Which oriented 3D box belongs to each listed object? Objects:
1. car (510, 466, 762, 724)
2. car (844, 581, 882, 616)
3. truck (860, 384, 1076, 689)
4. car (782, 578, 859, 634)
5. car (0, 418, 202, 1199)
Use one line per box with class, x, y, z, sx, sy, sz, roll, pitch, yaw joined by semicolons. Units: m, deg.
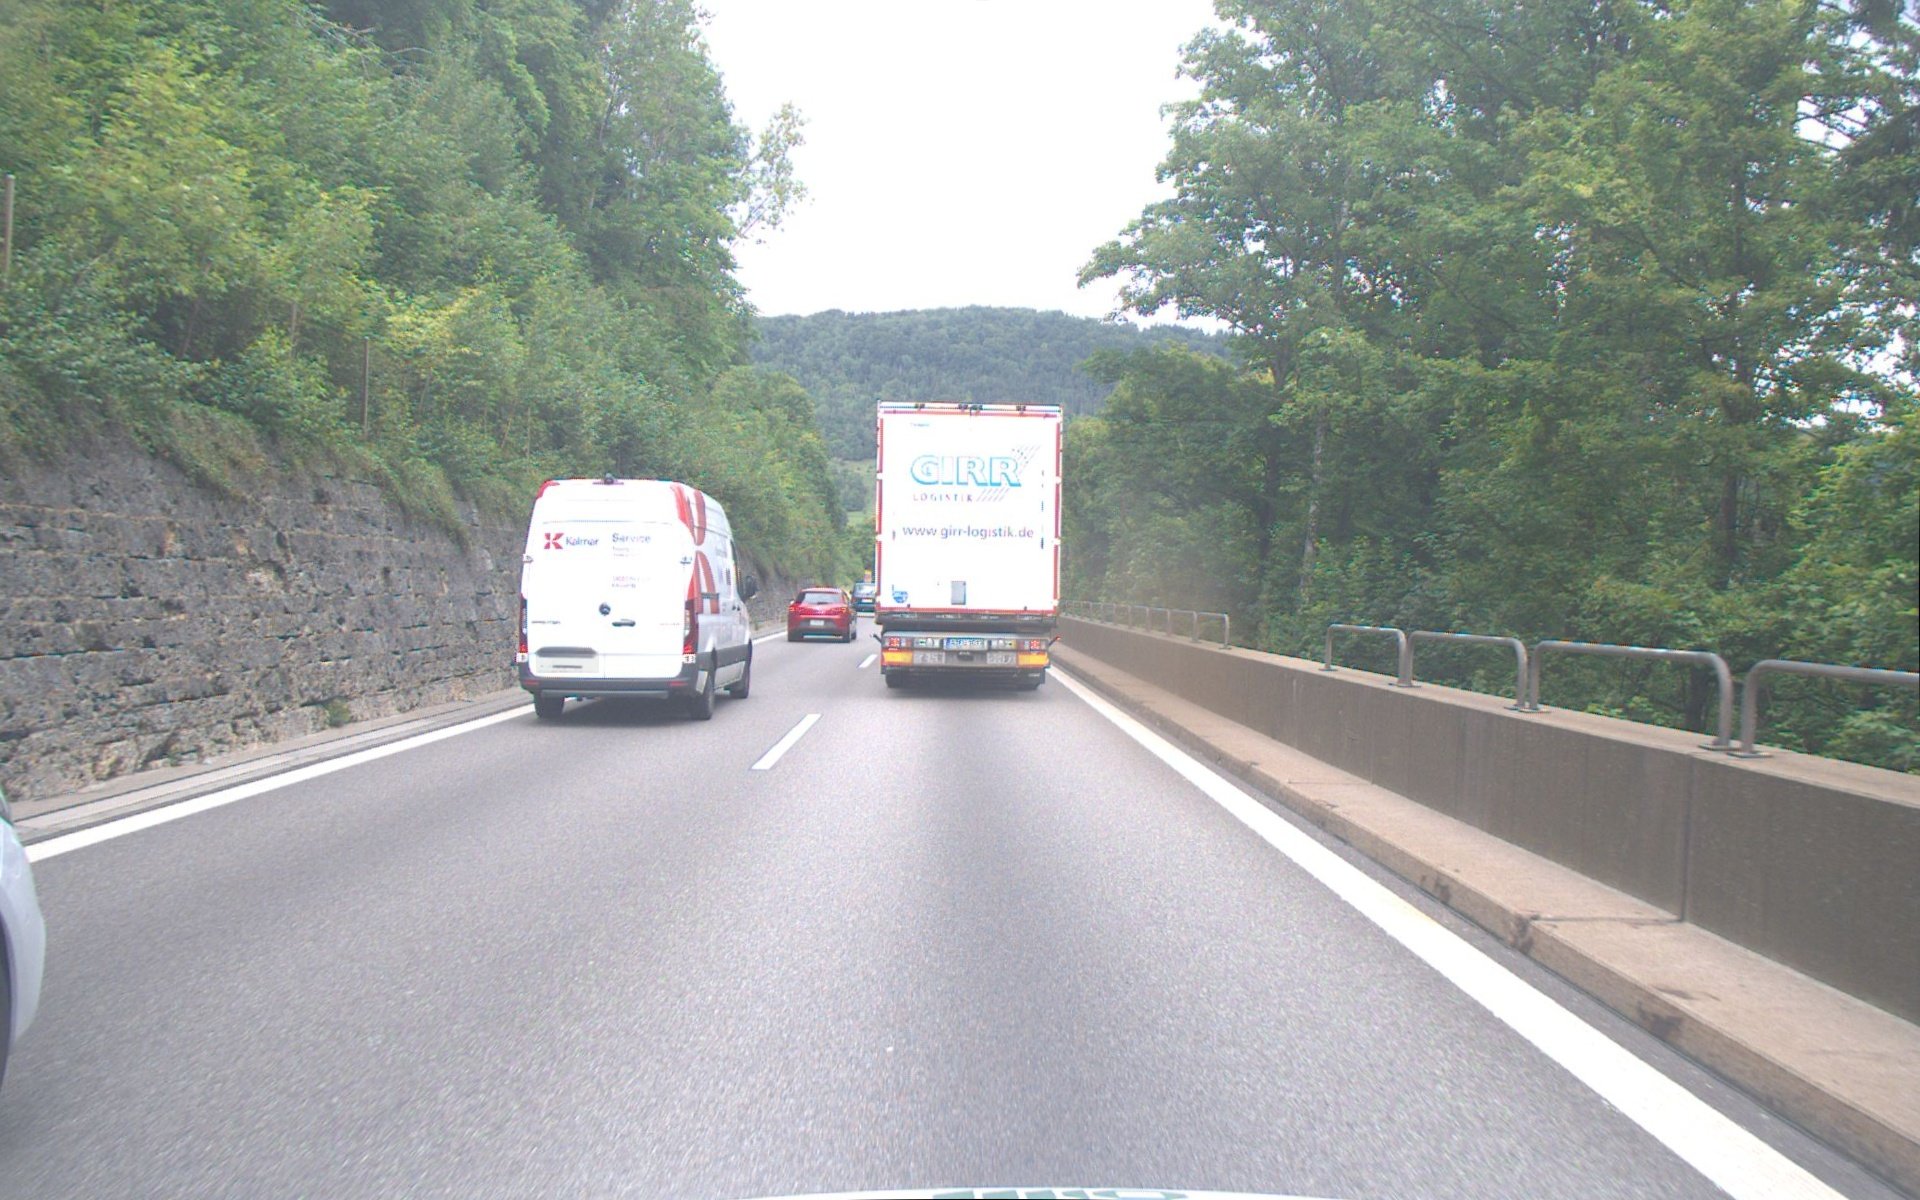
car;-3.688;-0.052;20.039;1.985;2.630;6.272;0;0;-2
car;-4.698;-0.075;80.479;1.635;1.667;4.067;0;0;-1
truck;0.123;-0.855;26.520;2.849;4.030;9.278;0;0;0
car;-3.822;0.165;45.890;1.730;1.485;4.411;0;0;0
car;-3.226;0.564;1.862;1.953;1.987;6.147;1;1;-1
